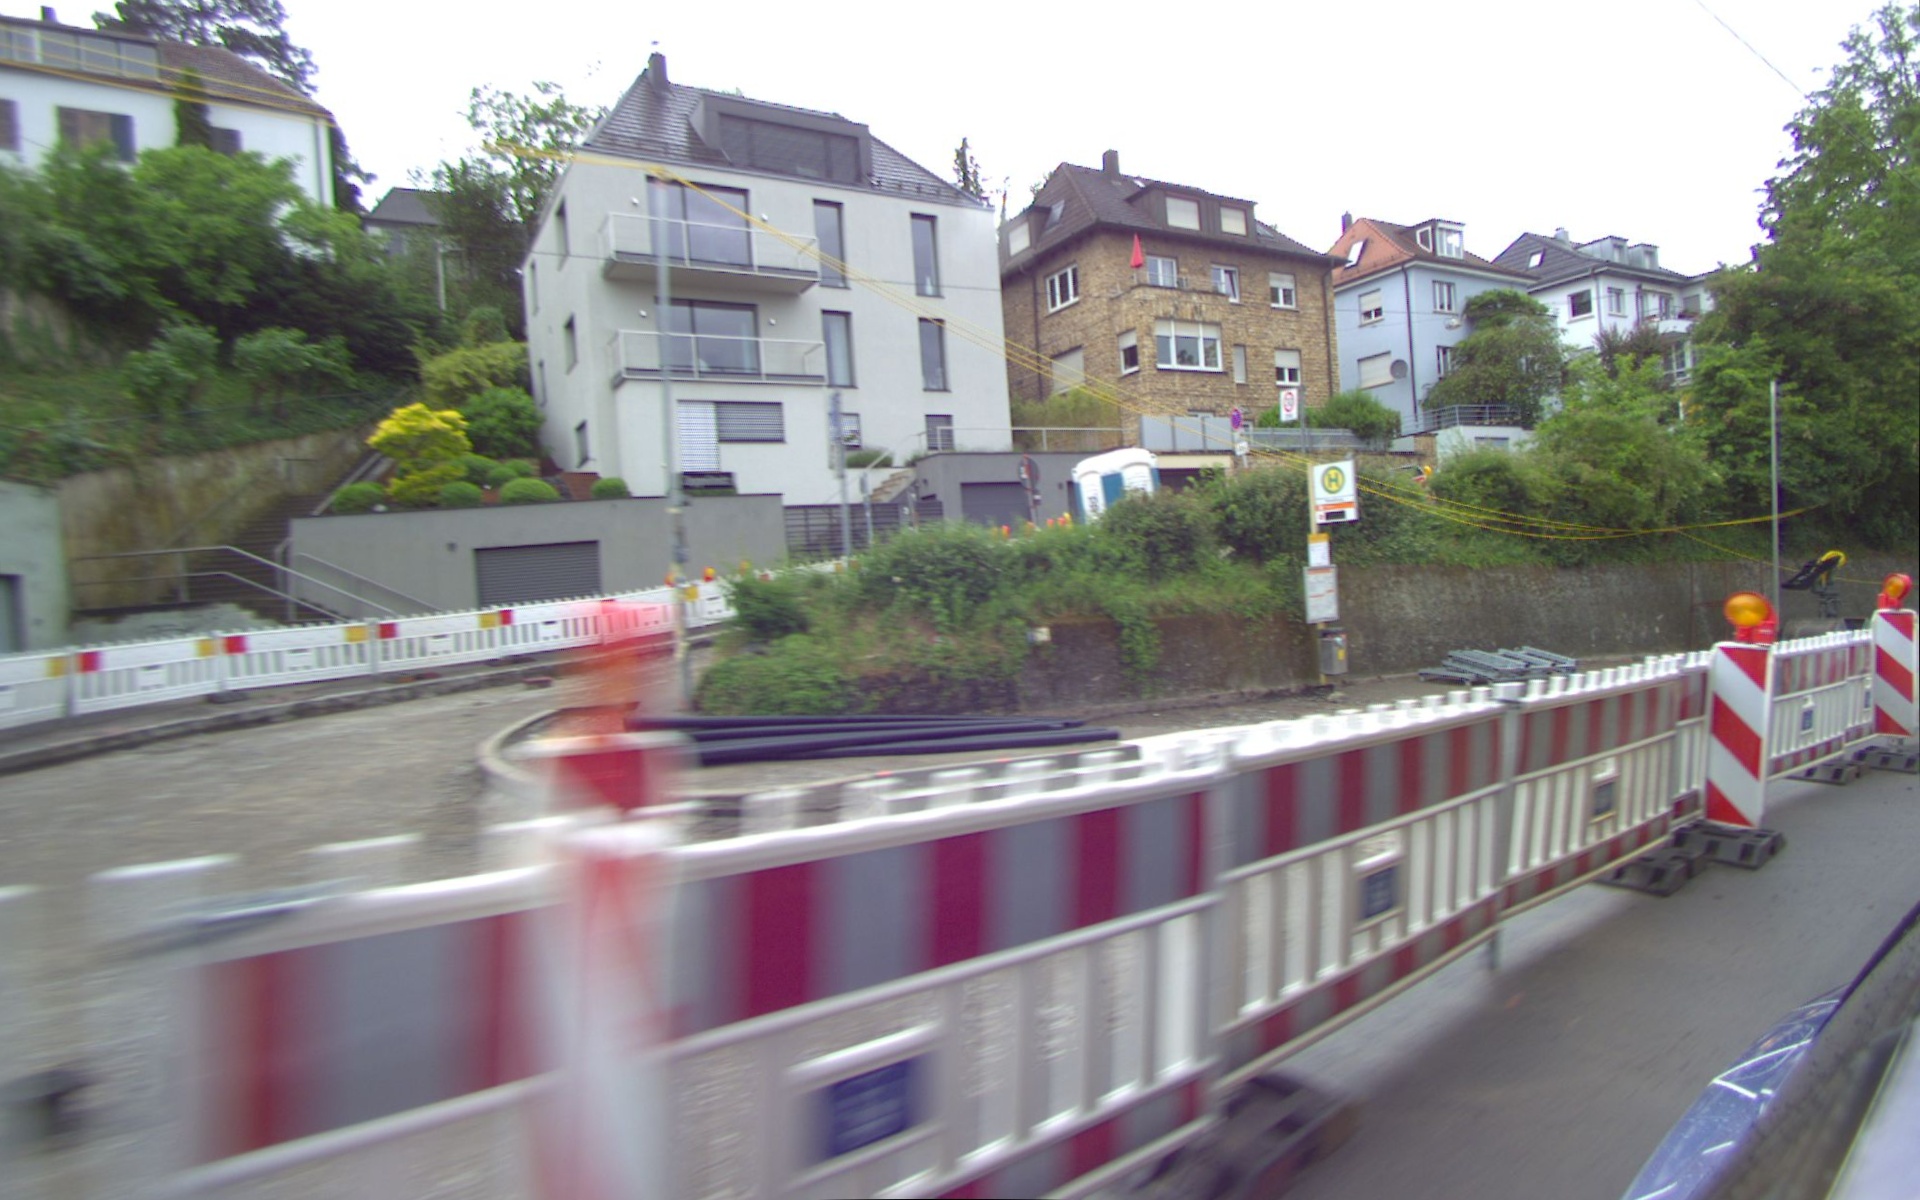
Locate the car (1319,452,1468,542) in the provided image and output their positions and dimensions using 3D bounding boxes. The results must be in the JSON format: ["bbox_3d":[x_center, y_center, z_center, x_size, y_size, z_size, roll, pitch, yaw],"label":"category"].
[{"bbox_3d":[13.468,-3.198,31.361,4.350,2.100,1.903,-12,6,-30],"label":"car"}]
